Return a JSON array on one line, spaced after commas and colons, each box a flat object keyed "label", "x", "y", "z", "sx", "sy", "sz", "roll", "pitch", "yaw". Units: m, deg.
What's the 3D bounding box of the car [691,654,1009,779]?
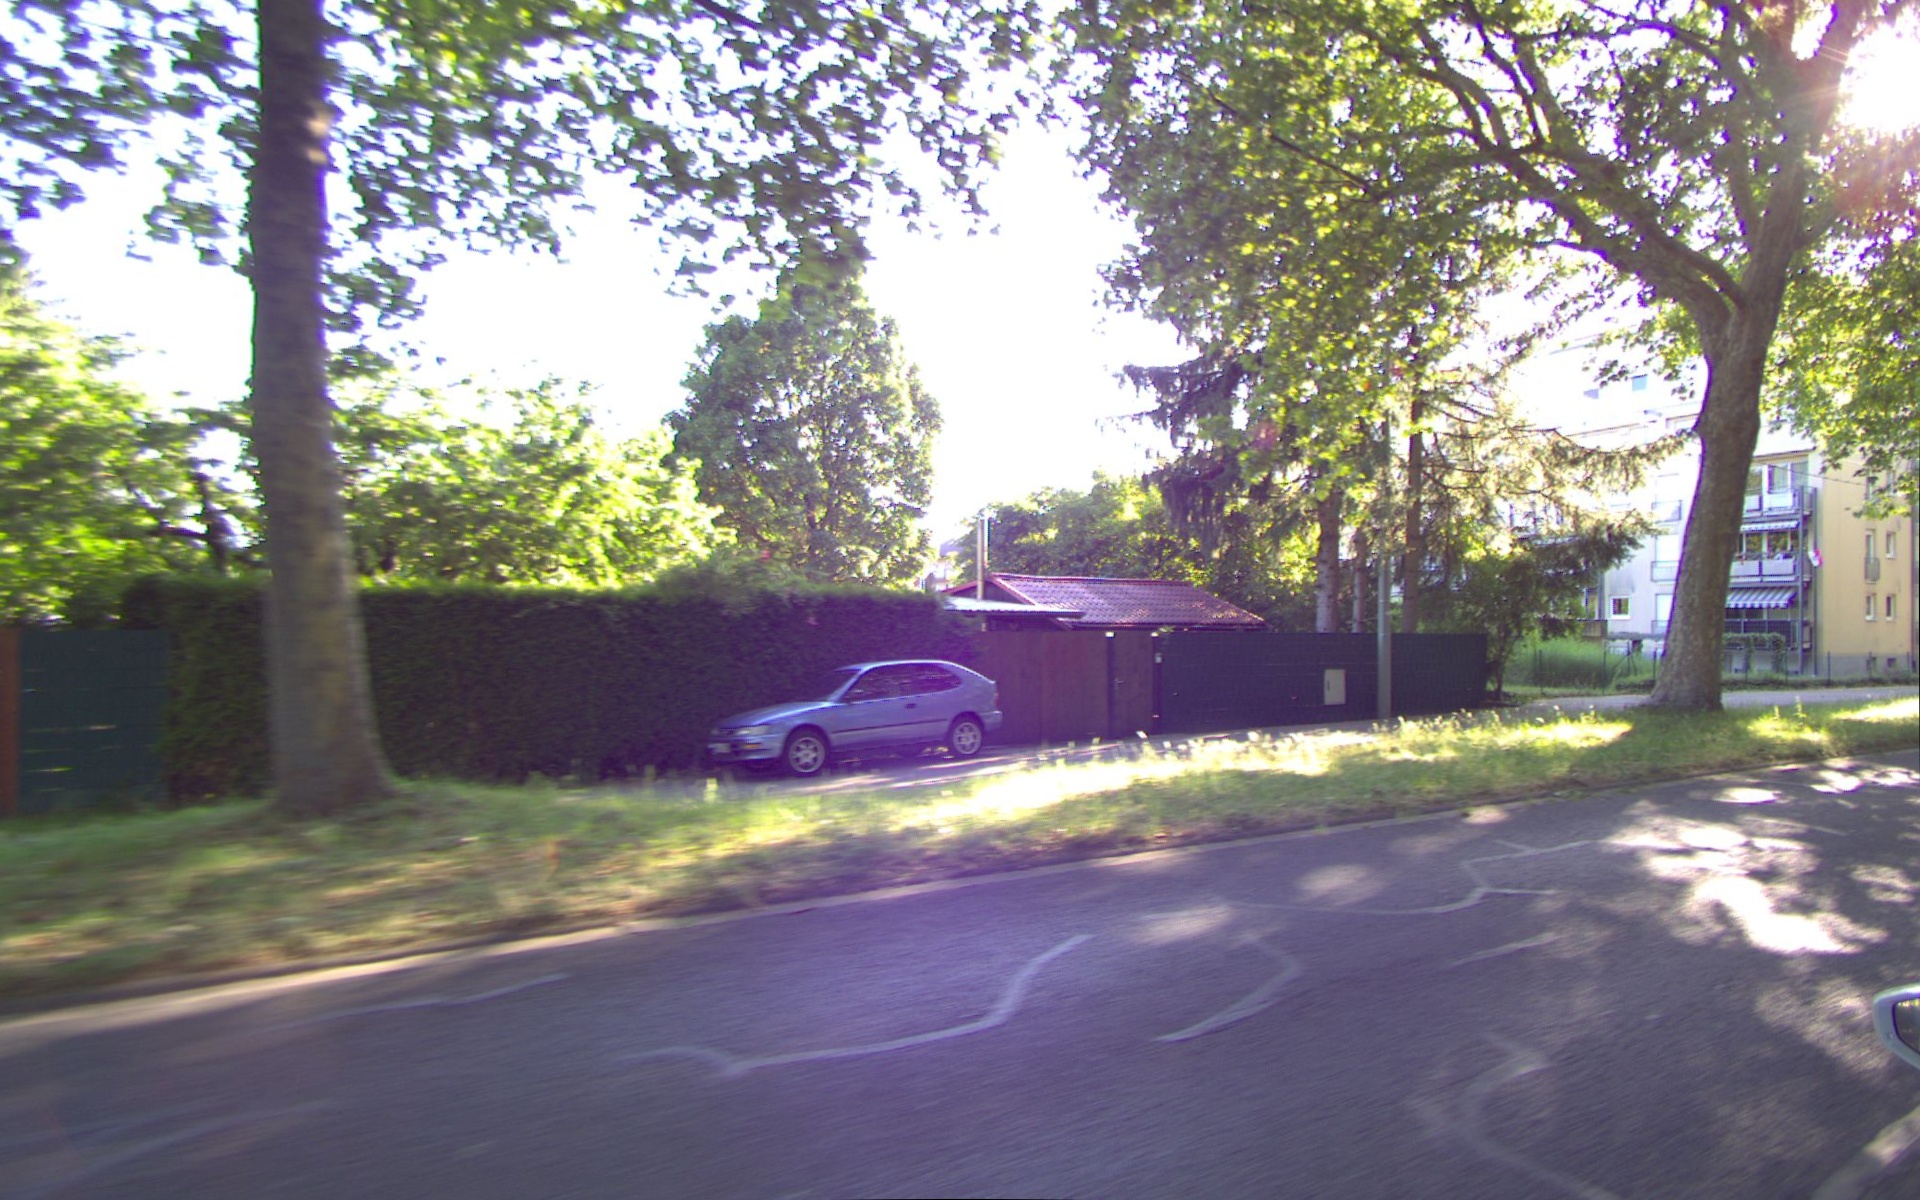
[{"label": "car", "x": -1.430, "y": 1.464, "z": 13.627, "sx": 3.958, "sy": 1.321, "sz": 1.741, "roll": 0, "pitch": -2, "yaw": -34}]
